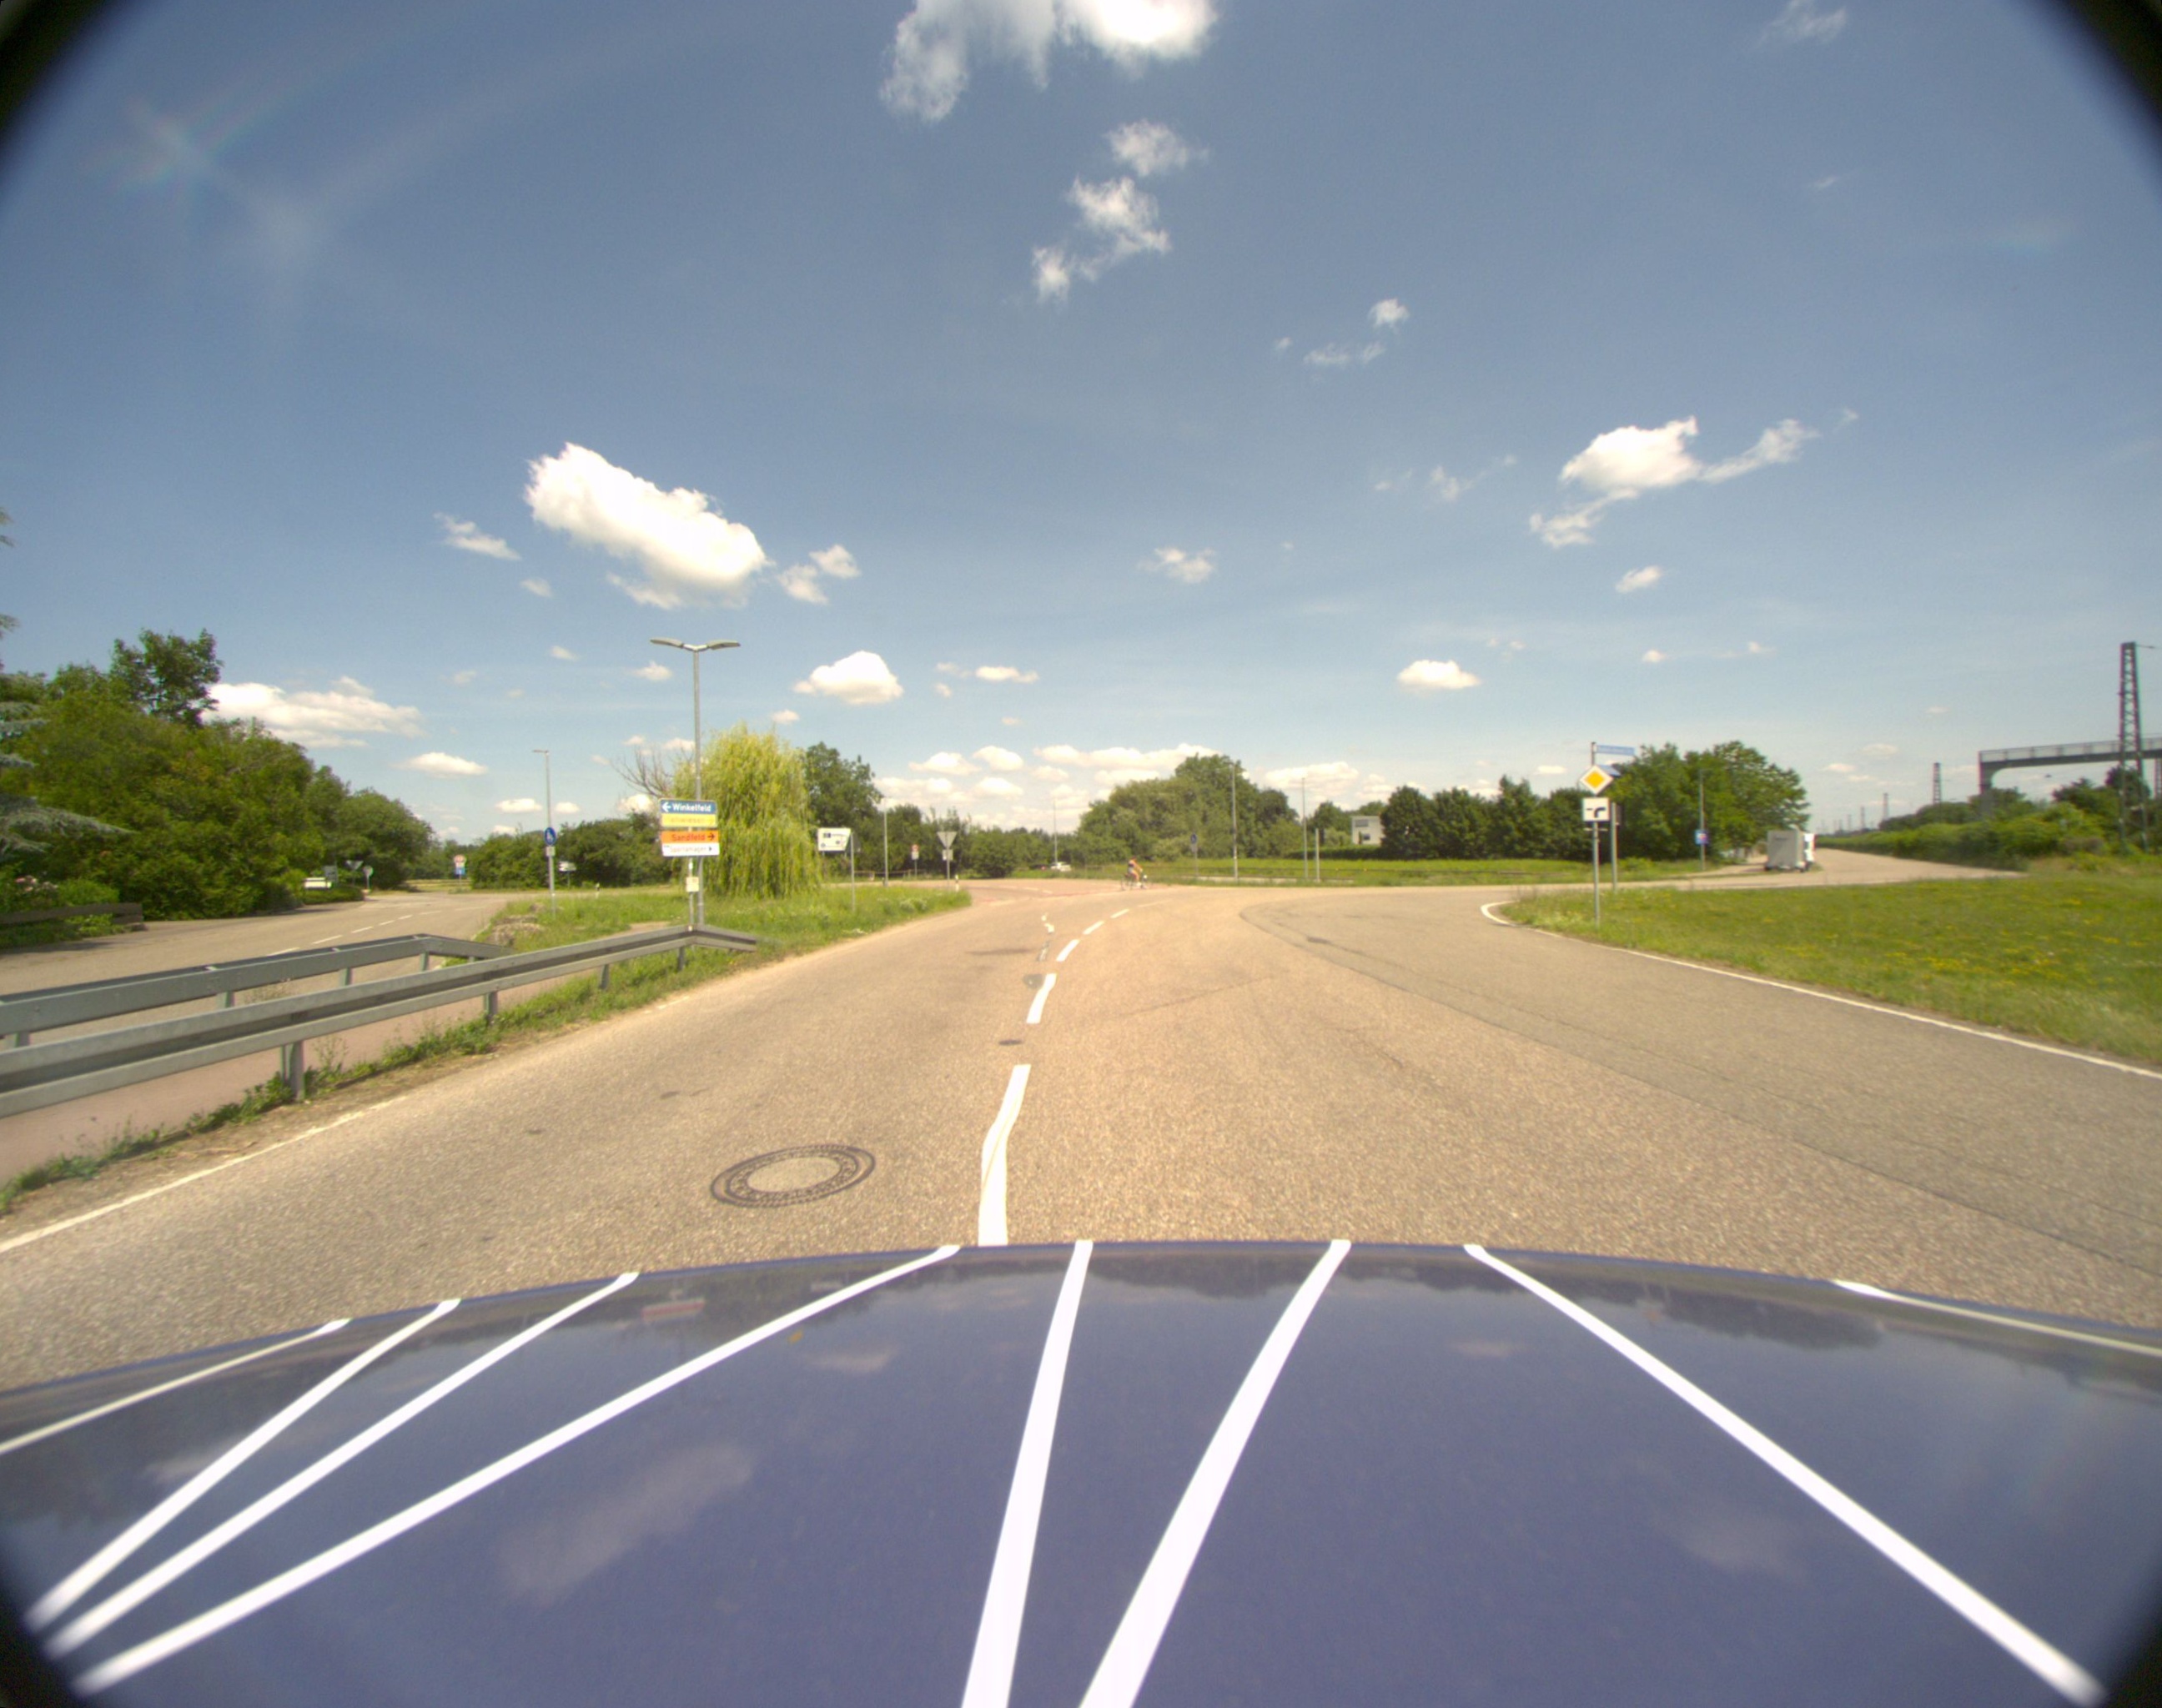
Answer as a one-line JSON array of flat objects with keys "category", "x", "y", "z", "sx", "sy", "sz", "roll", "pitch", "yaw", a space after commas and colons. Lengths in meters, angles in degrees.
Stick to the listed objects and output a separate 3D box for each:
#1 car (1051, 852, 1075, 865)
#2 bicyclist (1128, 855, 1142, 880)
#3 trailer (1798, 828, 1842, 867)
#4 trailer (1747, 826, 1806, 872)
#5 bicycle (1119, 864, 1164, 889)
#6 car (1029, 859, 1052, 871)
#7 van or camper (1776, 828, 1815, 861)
[{"category": "car", "x": -2.275, "y": 0.590, "z": 93.053, "sx": 1.421, "sy": 1.495, "sz": 3.111, "roll": -2, "pitch": -1, "yaw": -34}, {"category": "bicyclist", "x": 2.769, "y": 0.693, "z": 39.207, "sx": 0.512, "sy": 1.248, "sz": 0.468, "roll": -3, "pitch": 1, "yaw": -18}, {"category": "trailer", "x": 49.288, "y": -0.477, "z": 50.694, "sx": 1.919, "sy": 2.494, "sz": 4.750, "roll": 3, "pitch": 3, "yaw": 44}, {"category": "trailer", "x": 41.900, "y": -0.330, "z": 45.732, "sx": 5.194, "sy": 2.629, "sz": 1.933, "roll": -1, "pitch": 2, "yaw": -40}, {"category": "bicycle", "x": 3.137, "y": 1.163, "z": 39.336, "sx": 2.148, "sy": 1.158, "sz": 0.660, "roll": -3, "pitch": 1, "yaw": -18}, {"category": "car", "x": -4.869, "y": 1.357, "z": 91.111, "sx": 1.421, "sy": 1.330, "sz": 3.111, "roll": -2, "pitch": -1, "yaw": -34}, {"category": "van or camper", "x": 64.276, "y": -0.844, "z": 68.329, "sx": 2.439, "sy": 2.810, "sz": 7.639, "roll": 1, "pitch": 1, "yaw": 44}]
